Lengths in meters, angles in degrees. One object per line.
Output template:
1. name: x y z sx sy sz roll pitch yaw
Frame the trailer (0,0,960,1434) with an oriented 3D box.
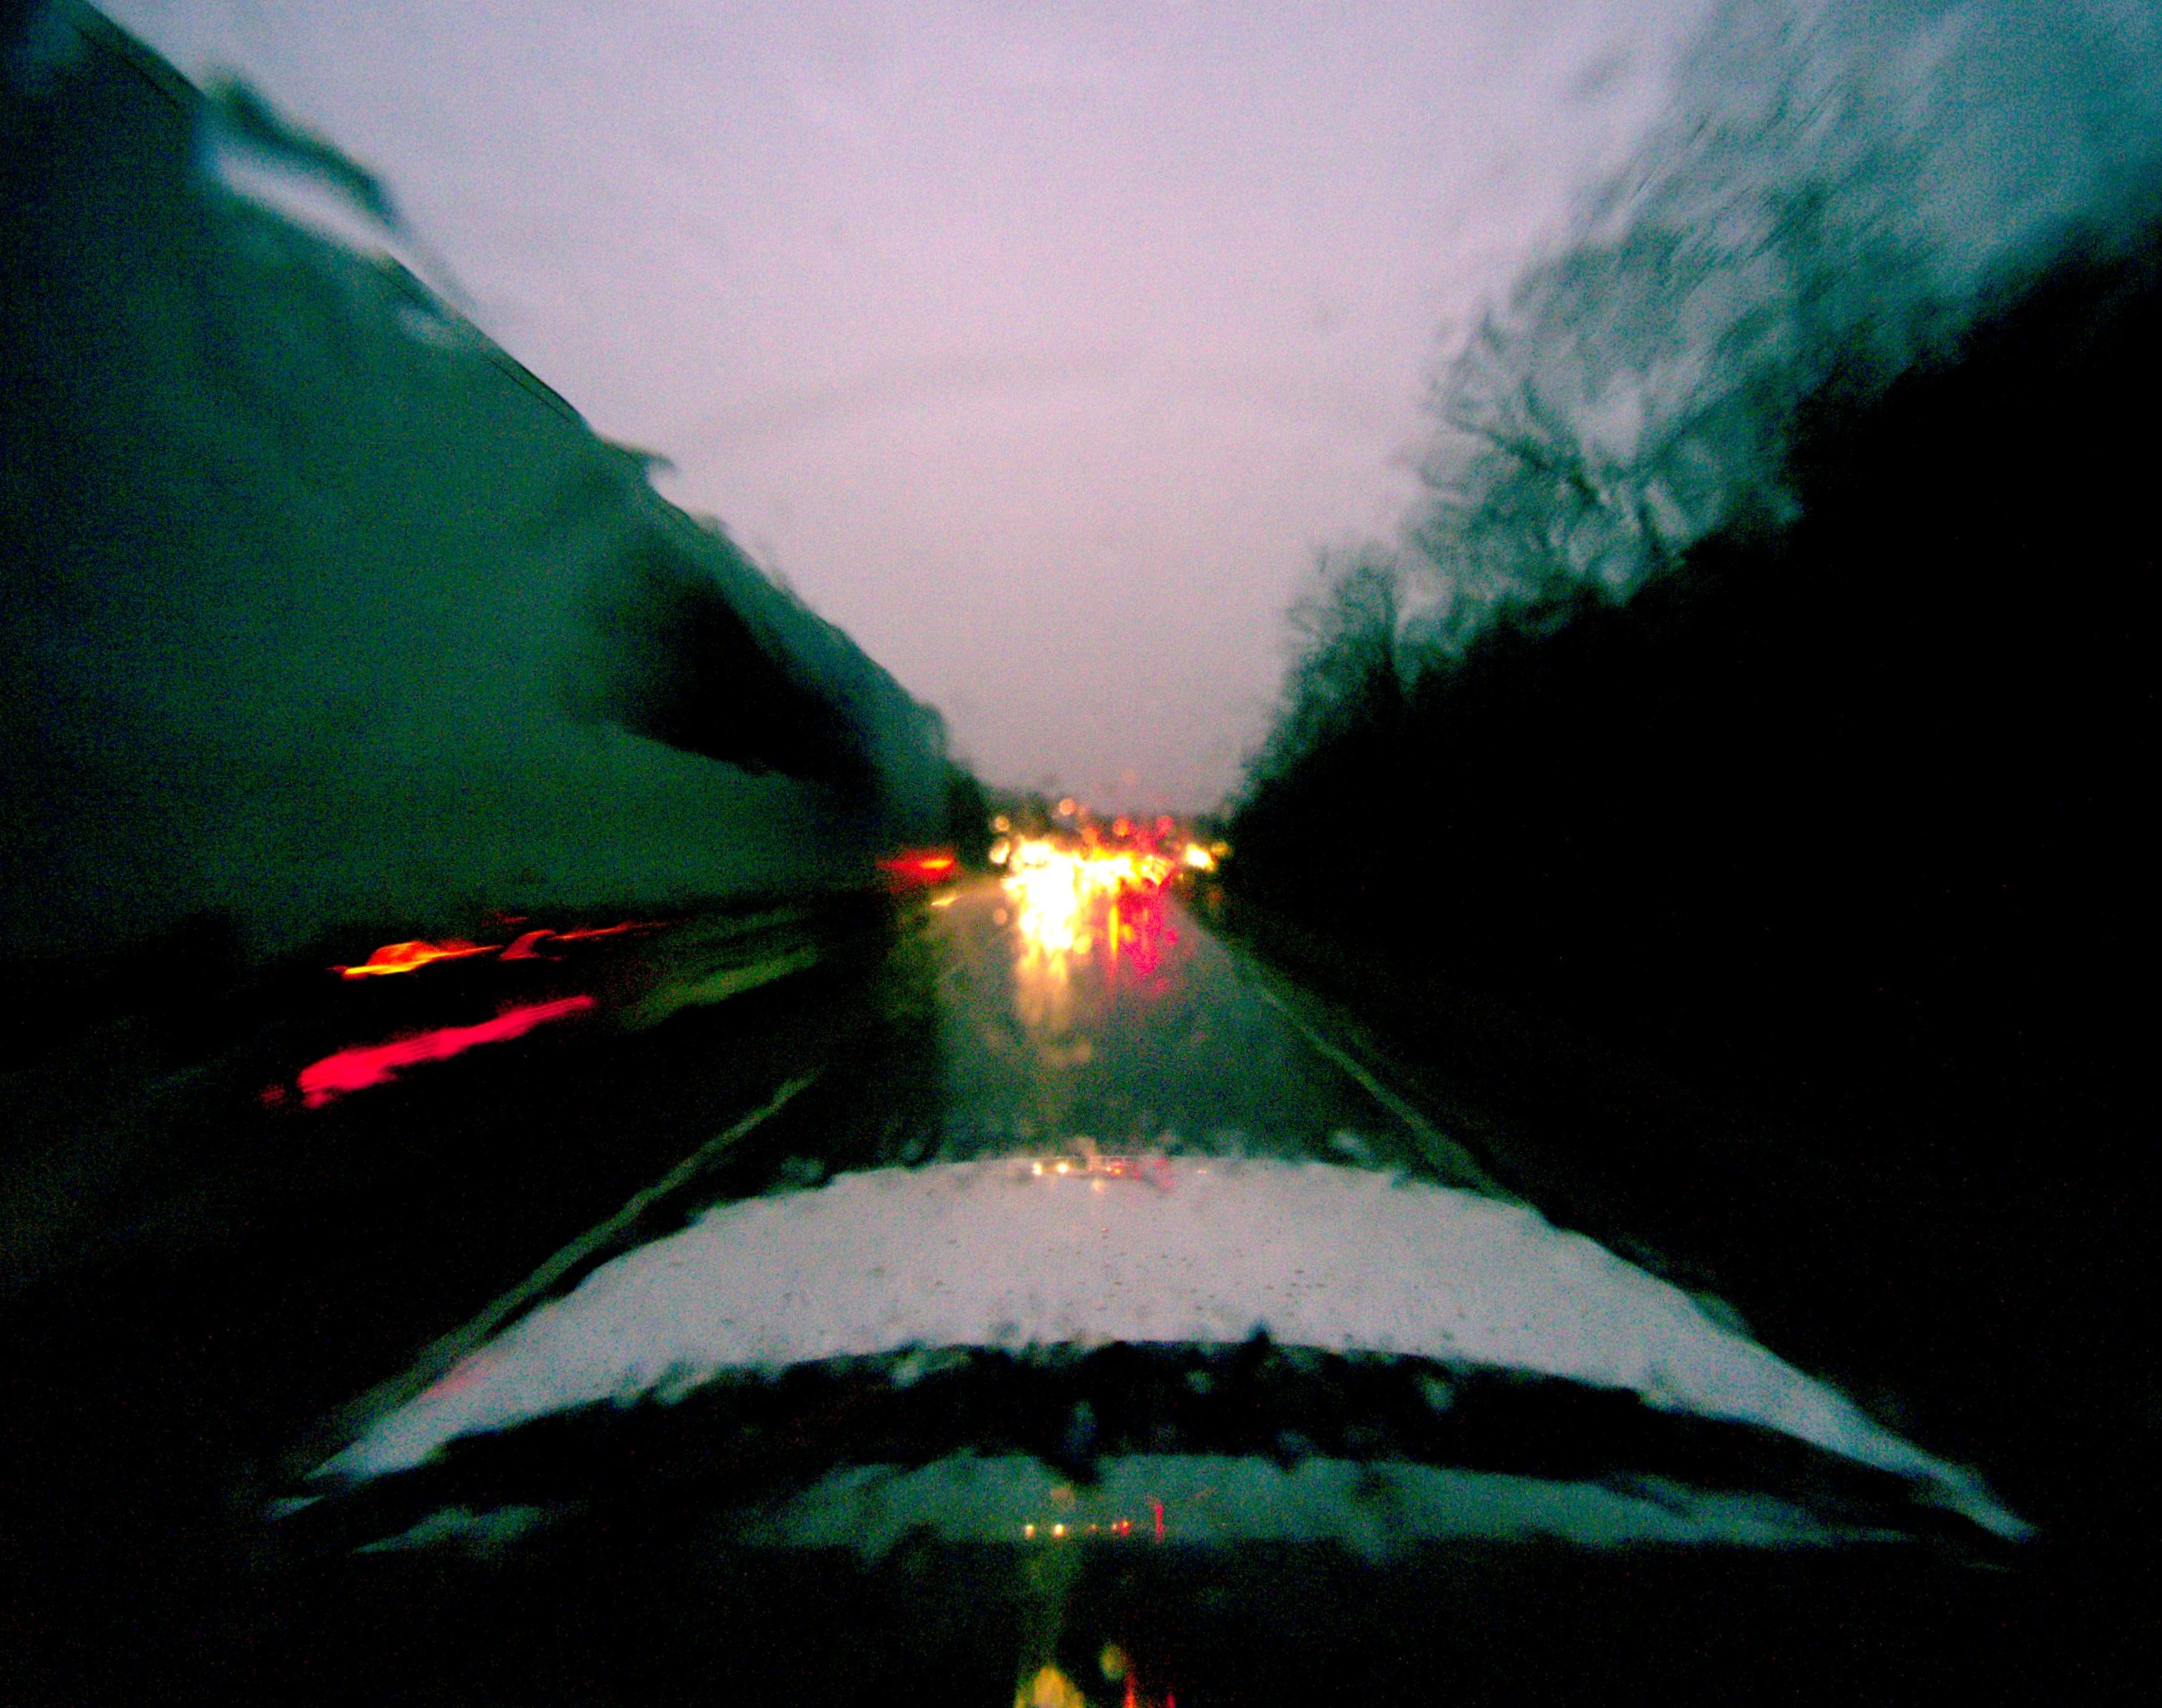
1. trailer: -3.944 -0.560 8.269 2.768 4.089 13.524 -2 0 2

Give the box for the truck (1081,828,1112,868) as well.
1. truck: 1.560 -0.562 80.964 2.811 3.716 8.537 -2 0 2

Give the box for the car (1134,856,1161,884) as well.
1. car: 5.354 1.243 64.951 1.983 2.013 4.007 -2 0 6

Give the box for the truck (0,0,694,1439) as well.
1. truck: -4.218 -0.526 1.911 2.788 4.126 7.204 -2 0 2

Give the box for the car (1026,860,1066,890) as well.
1. car: -1.855 1.115 44.343 1.738 1.473 4.488 0 0 3

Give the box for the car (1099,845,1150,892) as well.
1. car: 1.626 0.532 31.463 1.722 1.643 4.000 -2 0 0
